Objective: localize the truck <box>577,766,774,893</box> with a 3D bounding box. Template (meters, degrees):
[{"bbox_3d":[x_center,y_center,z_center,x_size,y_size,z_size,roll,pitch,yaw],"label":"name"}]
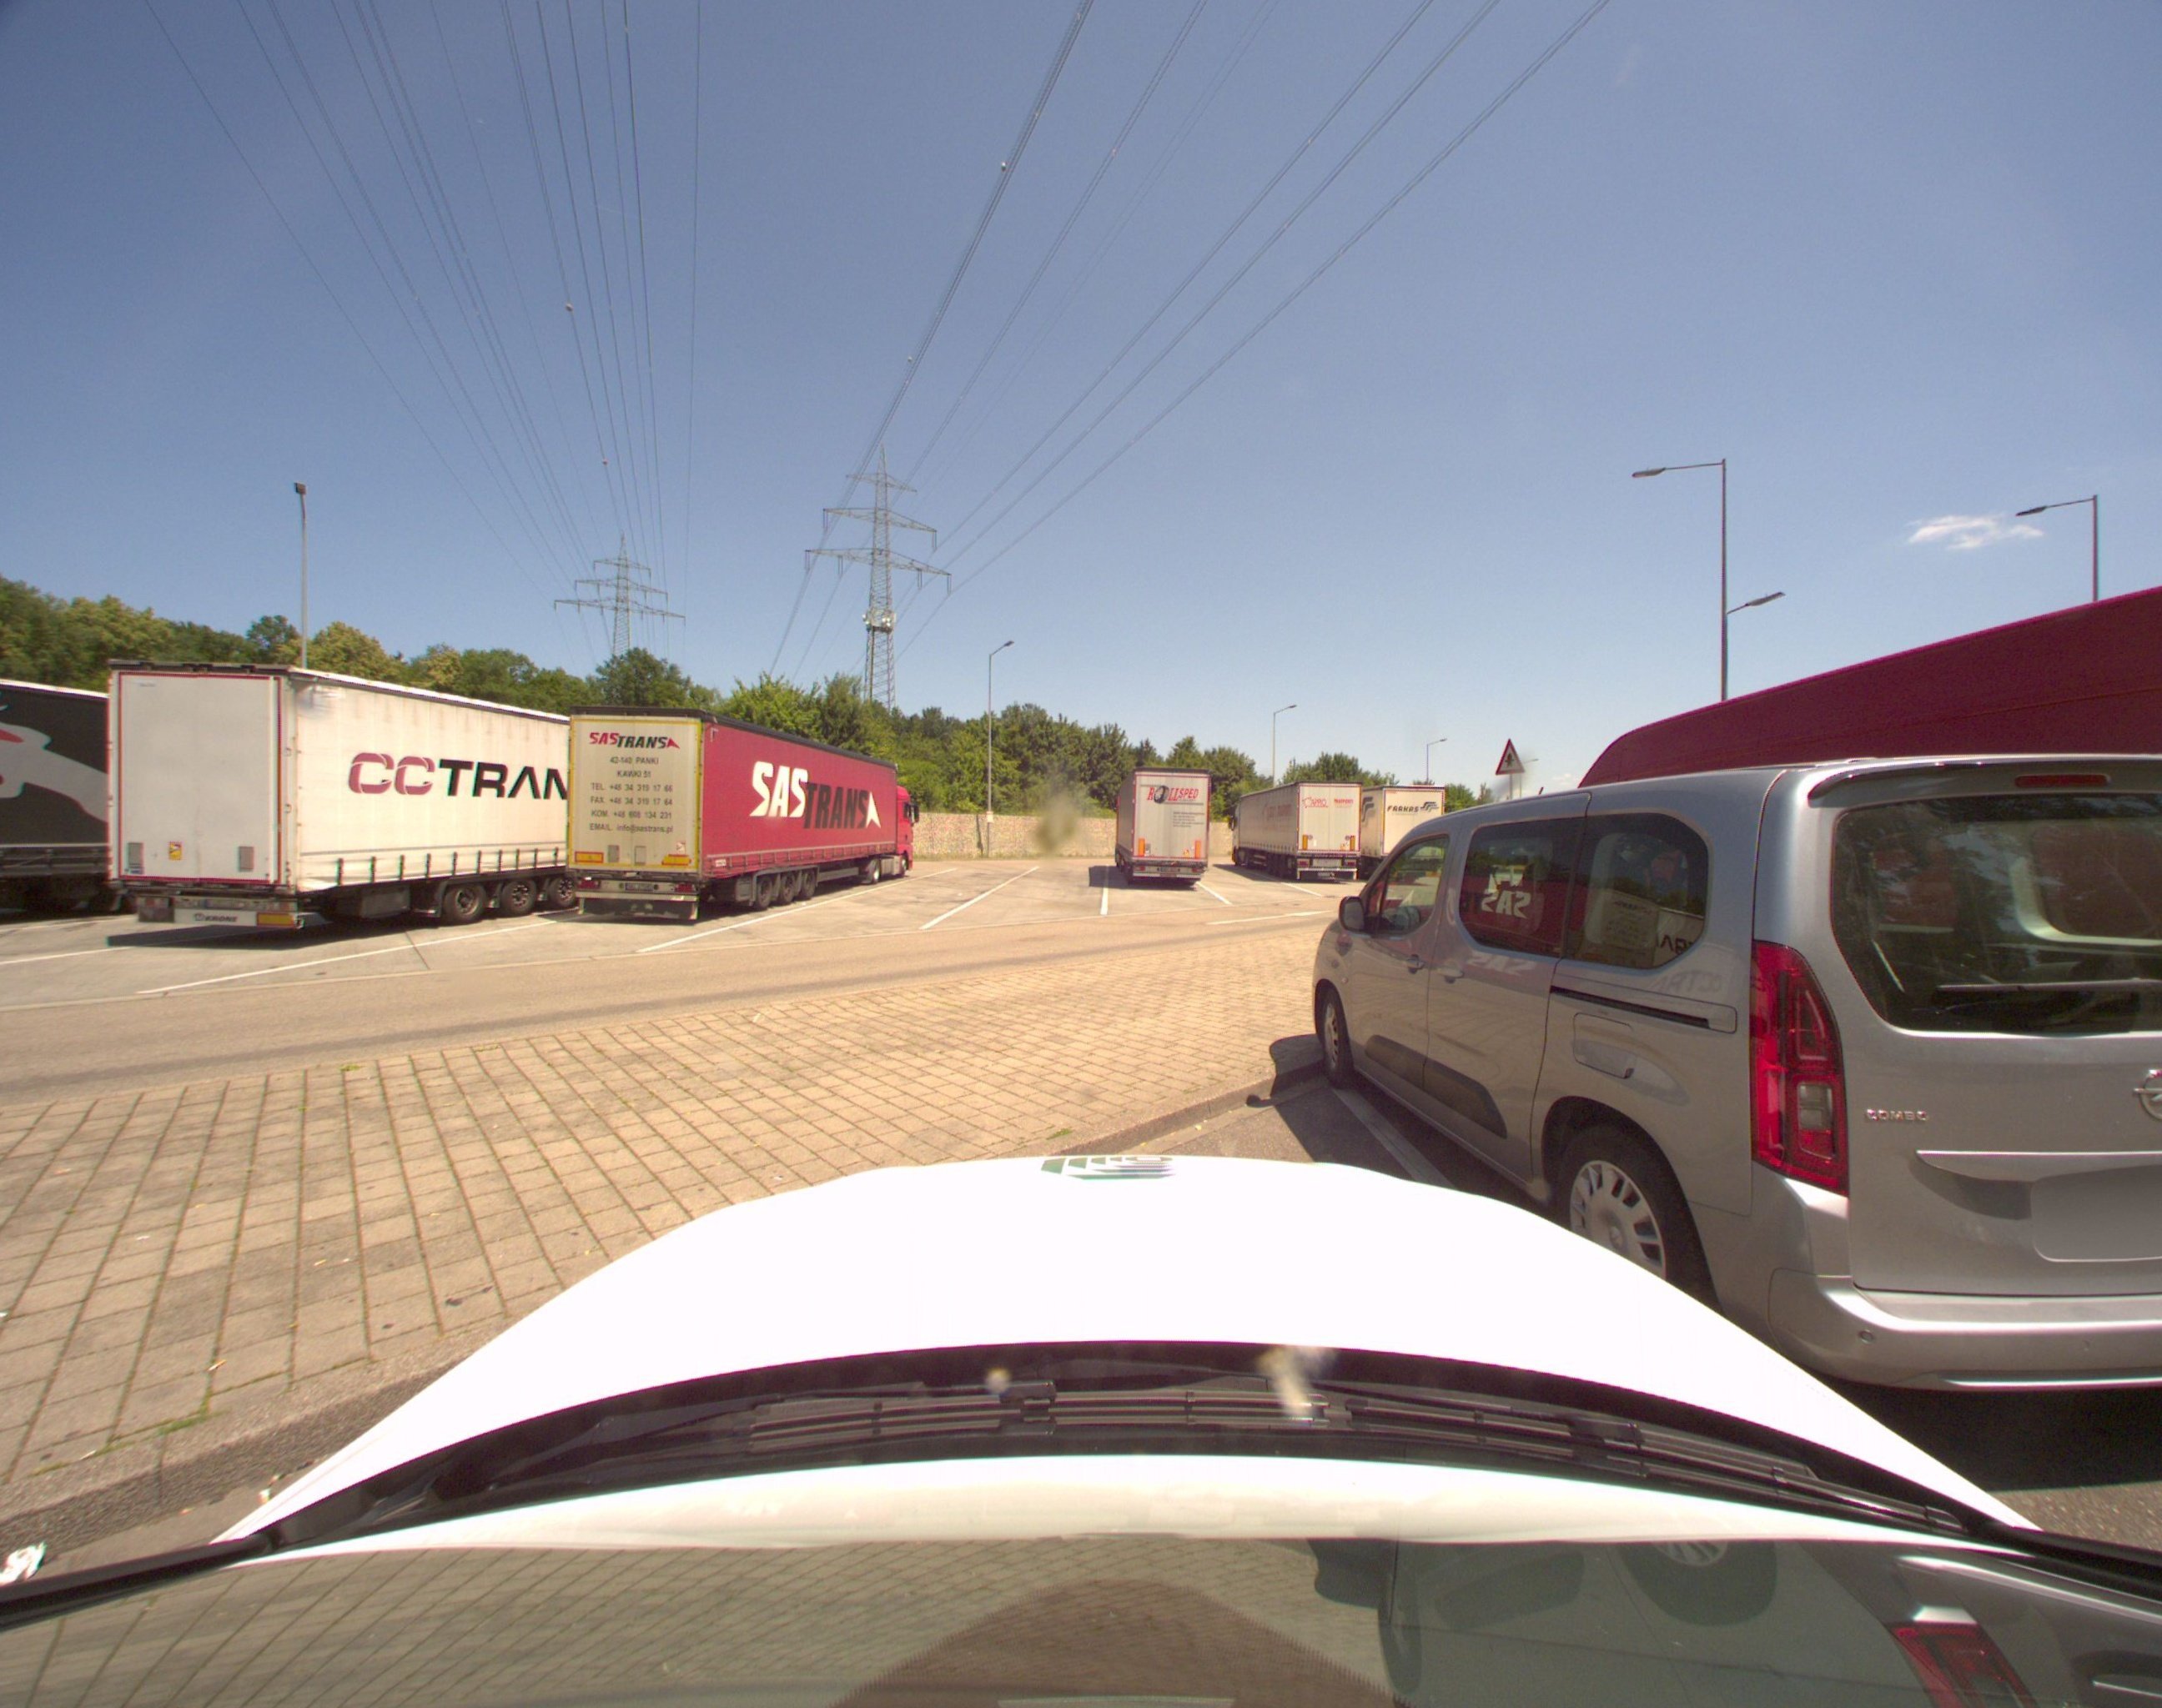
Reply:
[{"bbox_3d":[-11.931,-0.762,24.661,2.840,3.327,5.903,1,2,2],"label":"truck"}]

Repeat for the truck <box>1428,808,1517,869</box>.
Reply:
[{"bbox_3d":[24.350,-0.999,51.006,2.792,3.521,5.903,1,2,2],"label":"truck"}]

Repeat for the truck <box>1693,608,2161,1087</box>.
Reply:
[{"bbox_3d":[7.988,-0.032,6.475,2.444,2.912,5.663,-1,-1,7],"label":"truck"}]

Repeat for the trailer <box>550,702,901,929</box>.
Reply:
[{"bbox_3d":[-8.068,-0.945,21.924,2.781,4.084,14.139,1,2,2],"label":"trailer"}]

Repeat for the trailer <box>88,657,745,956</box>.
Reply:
[{"bbox_3d":[-12.132,-0.909,18.355,2.785,4.084,14.139,1,2,2],"label":"trailer"}]

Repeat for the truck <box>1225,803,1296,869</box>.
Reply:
[{"bbox_3d":[10.186,-1.070,46.765,2.852,3.521,5.903,1,2,2],"label":"truck"}]

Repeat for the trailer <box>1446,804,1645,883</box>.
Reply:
[{"bbox_3d":[24.095,-0.728,43.775,2.801,3.507,14.403,1,2,2],"label":"trailer"}]

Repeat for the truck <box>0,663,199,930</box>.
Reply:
[{"bbox_3d":[-18.544,-0.968,13.803,2.726,4.239,3.997,1,2,2],"label":"truck"}]

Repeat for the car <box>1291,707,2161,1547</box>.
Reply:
[{"bbox_3d":[2.486,0.578,3.903,1.864,1.863,4.176,1,1,0],"label":"car"}]

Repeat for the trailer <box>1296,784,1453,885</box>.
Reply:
[{"bbox_3d":[13.598,-1.031,39.627,2.801,3.989,14.403,1,2,2],"label":"trailer"}]

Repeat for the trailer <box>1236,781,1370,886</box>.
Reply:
[{"bbox_3d":[9.924,-1.040,38.664,2.801,3.989,14.403,1,2,2],"label":"trailer"}]

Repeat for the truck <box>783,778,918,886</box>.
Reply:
[{"bbox_3d":[-7.820,-0.782,28.494,2.840,3.327,5.903,1,2,2],"label":"truck"}]

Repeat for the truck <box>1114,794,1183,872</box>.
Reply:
[{"bbox_3d":[3.224,-1.077,40.609,3.092,3.566,5.903,1,2,2],"label":"truck"}]

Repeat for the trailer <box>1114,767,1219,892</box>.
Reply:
[{"bbox_3d":[3.059,-1.061,33.715,3.122,3.989,14.401,1,2,1],"label":"trailer"}]

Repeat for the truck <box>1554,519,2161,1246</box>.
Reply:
[{"bbox_3d":[5.132,0.123,4.927,1.968,2.622,5.314,0,-1,7],"label":"truck"}]
